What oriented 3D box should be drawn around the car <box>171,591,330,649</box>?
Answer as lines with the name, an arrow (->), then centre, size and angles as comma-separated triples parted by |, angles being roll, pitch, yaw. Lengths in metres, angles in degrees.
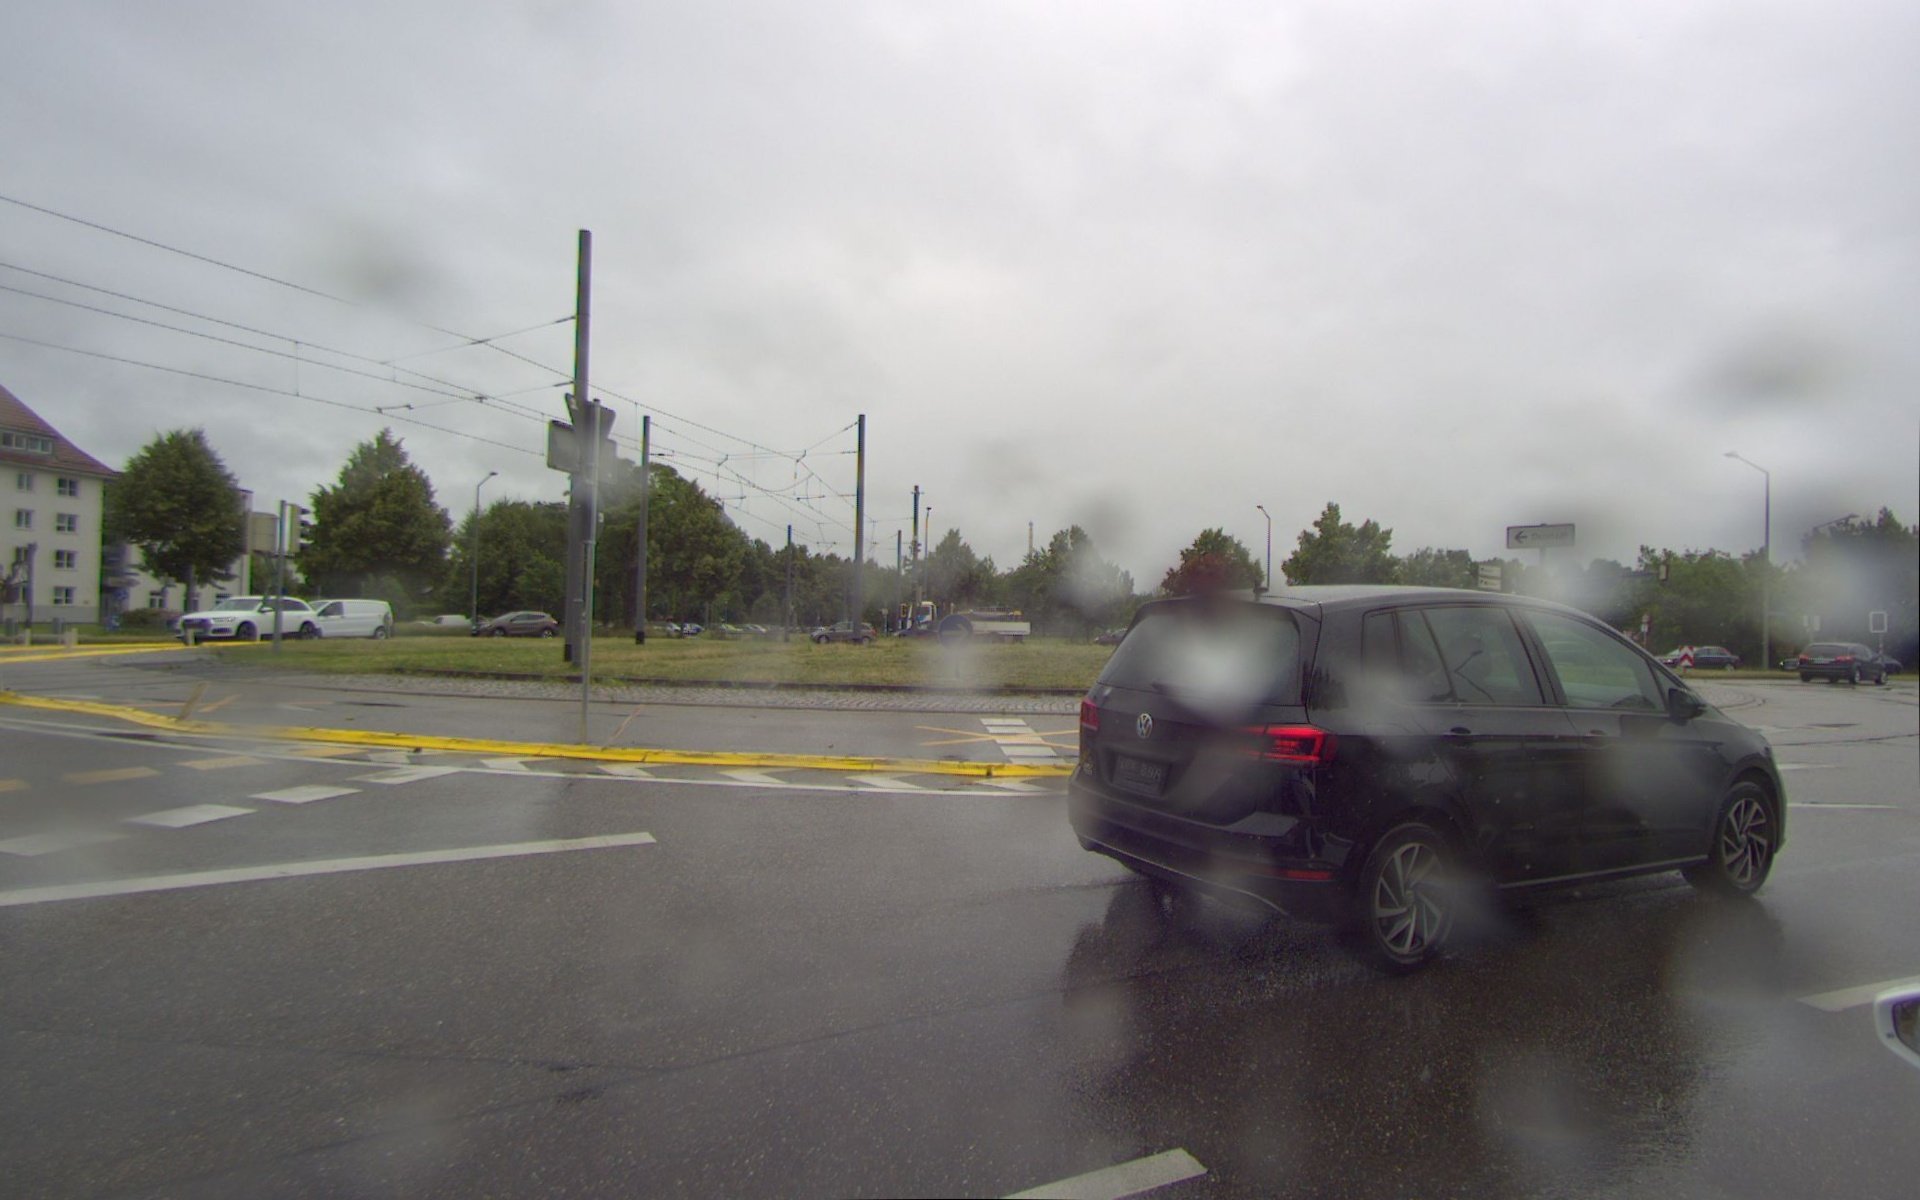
car -> -24.205, 0.661, 34.542 | 1.742, 1.767, 4.868 | 3, 0, 3

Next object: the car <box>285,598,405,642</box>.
car -> -27.098, 0.912, 44.414 | 1.800, 1.746, 4.163 | 3, 0, 24

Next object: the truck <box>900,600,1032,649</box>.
truck -> 0.411, 1.648, 67.712 | 8.622, 2.747, 2.001 | 3, 0, 3

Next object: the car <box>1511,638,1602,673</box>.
car -> 33.637, 3.101, 56.789 | 4.066, 1.669, 1.789 | 3, 0, 19

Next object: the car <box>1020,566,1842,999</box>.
car -> 2.611, 0.706, 5.369 | 4.278, 1.537, 1.776 | 2, -1, -28

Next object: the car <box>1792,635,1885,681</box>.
car -> 36.163, 2.412, 41.330 | 3.957, 1.669, 1.773 | 4, 0, -32

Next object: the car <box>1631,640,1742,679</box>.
car -> 37.997, 3.095, 52.647 | 4.305, 1.669, 1.790 | 3, 0, 14

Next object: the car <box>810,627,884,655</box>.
car -> -7.172, 2.585, 63.730 | 4.473, 1.511, 1.607 | 4, 0, -15

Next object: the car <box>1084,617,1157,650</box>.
car -> 9.323, 1.923, 58.283 | 3.919, 1.669, 1.790 | 3, 0, 15

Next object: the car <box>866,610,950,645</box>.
car -> -3.073, 1.609, 59.683 | 4.772, 1.767, 1.777 | 3, 0, -2

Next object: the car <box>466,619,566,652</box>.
car -> -23.285, 1.889, 52.786 | 1.590, 1.511, 4.521 | 3, 0, 45
